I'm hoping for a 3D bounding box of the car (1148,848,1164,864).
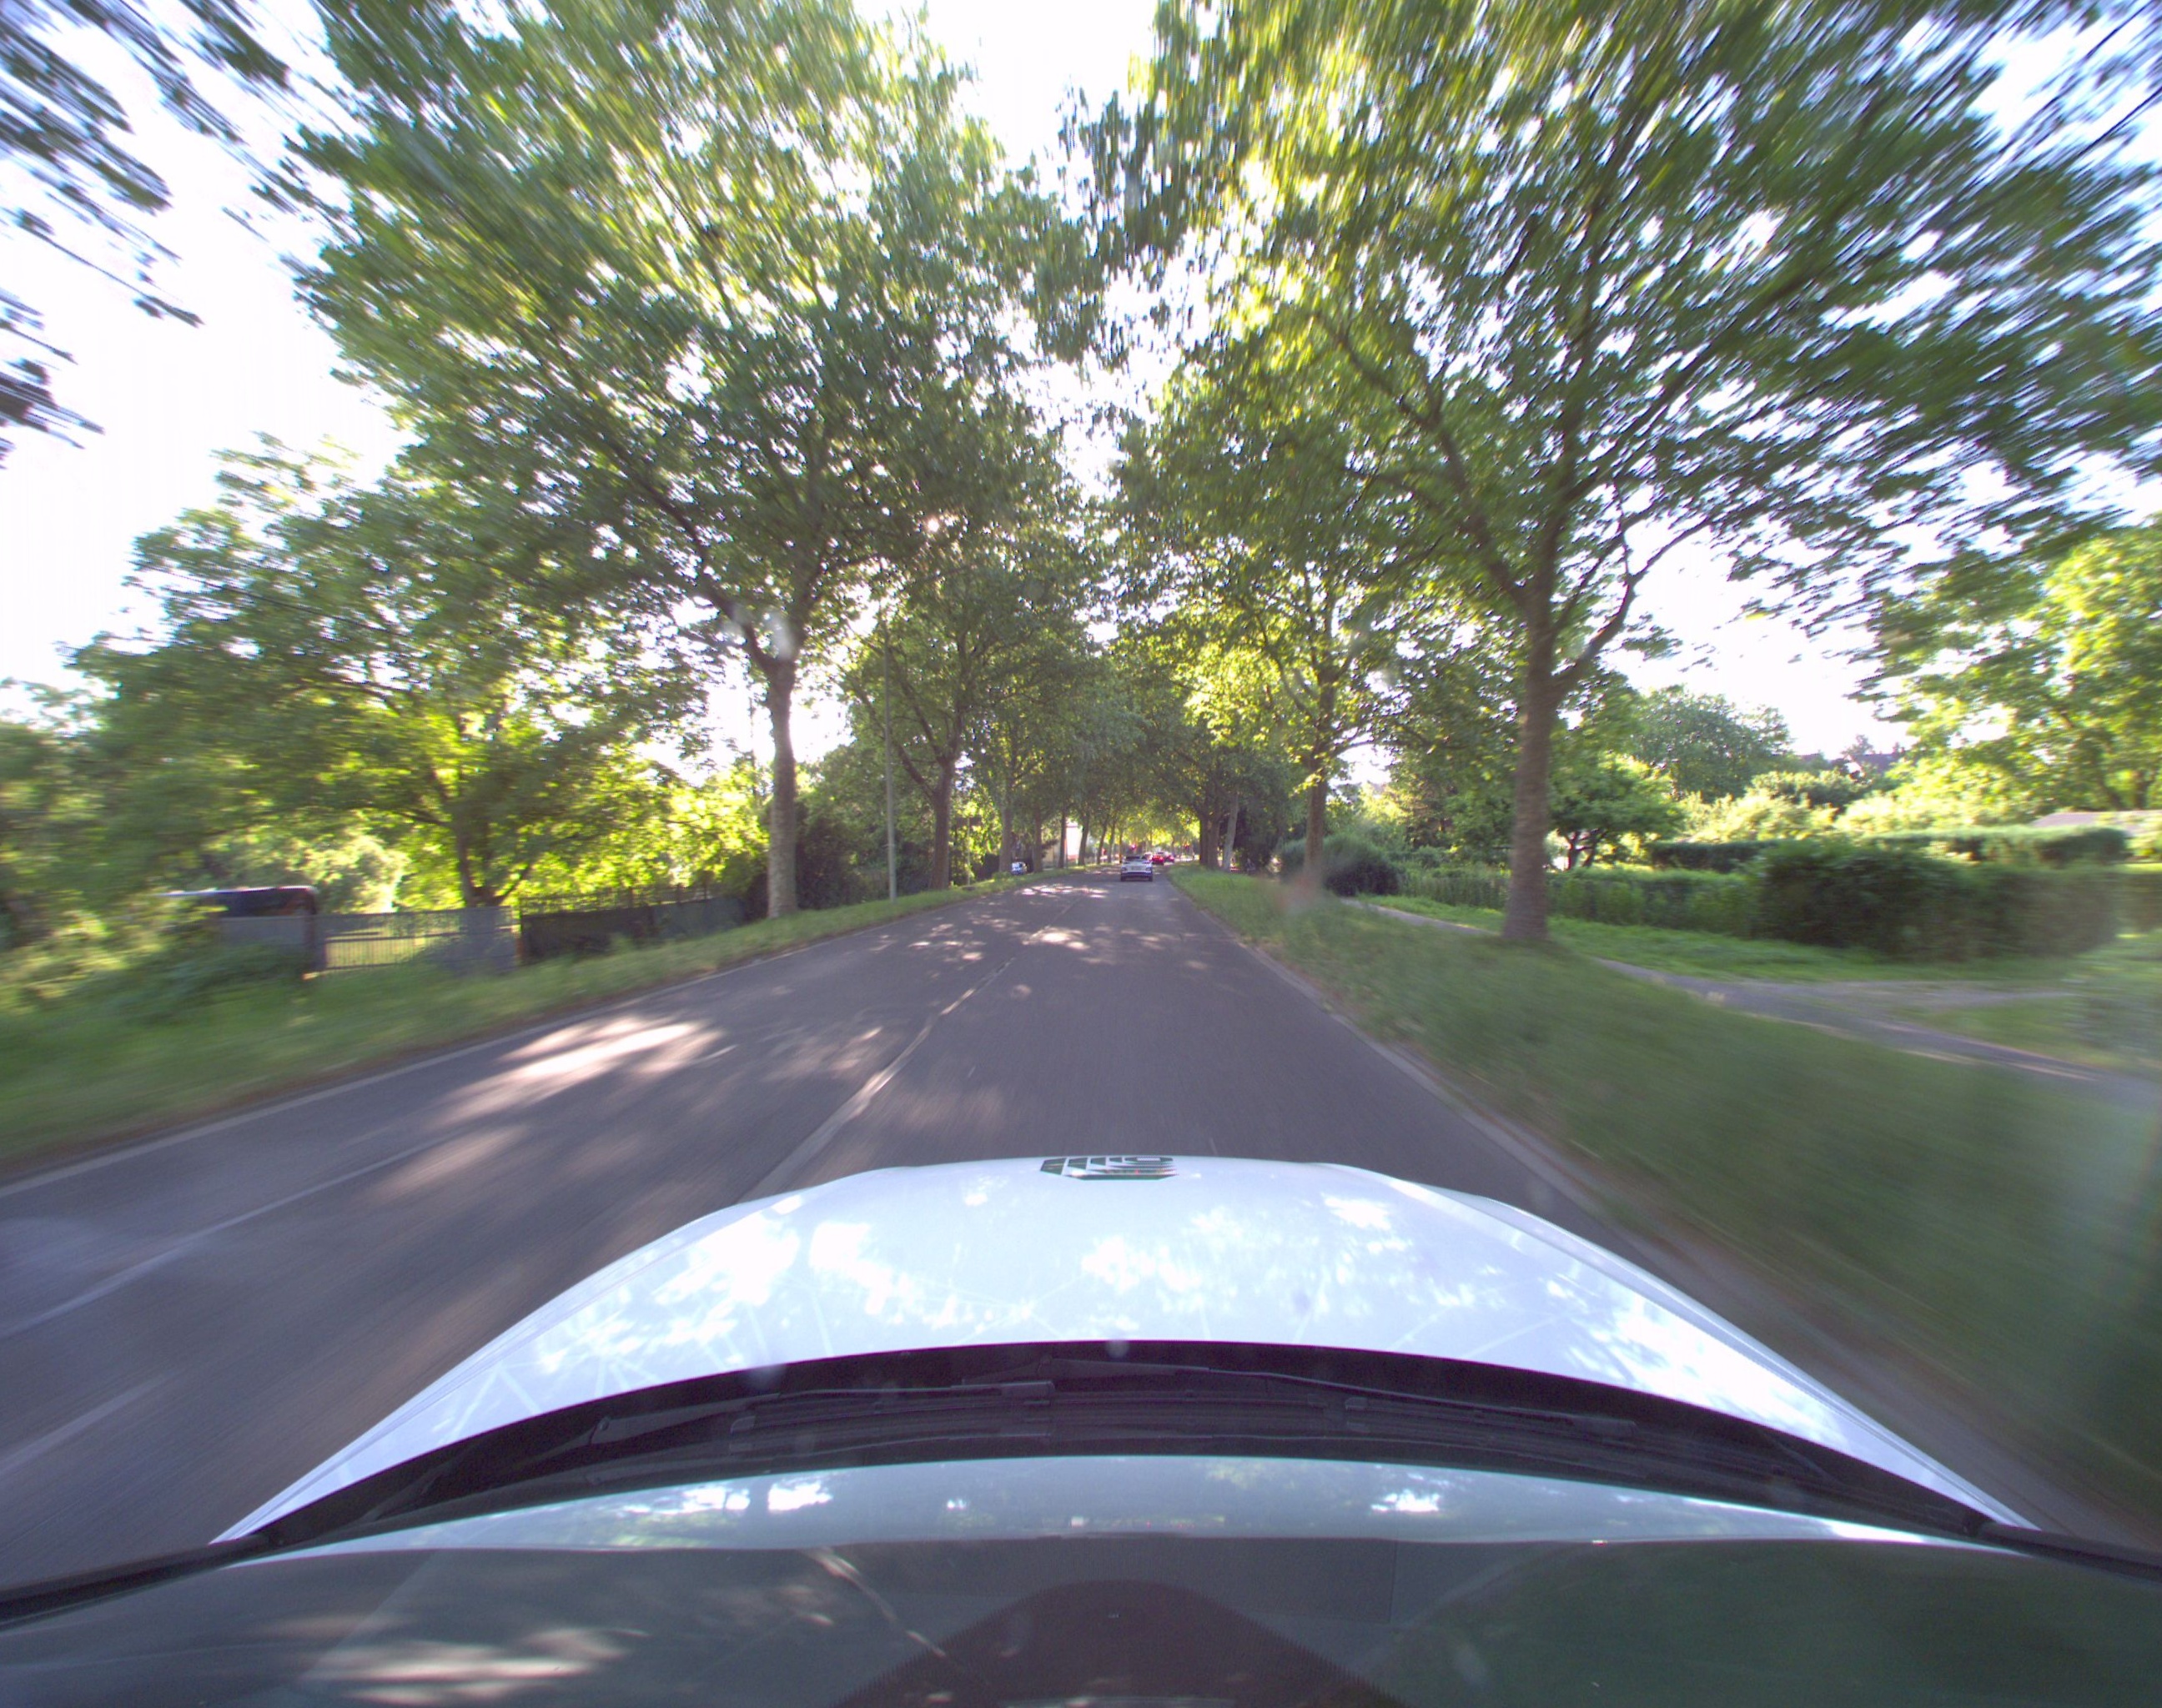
[{"bbox_3d":[9.759,0.279,105.251,1.984,2.014,4.006,0,-1,6],"label":"car"}]

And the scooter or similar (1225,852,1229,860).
[{"bbox_3d":[25.201,0.329,140.532,0.546,1.258,2.319,0,-1,10],"label":"scooter or similar"}]

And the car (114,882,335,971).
[{"bbox_3d":[-21.516,1.756,20.527,3.960,2.014,2.007,0,-1,12],"label":"car"}]

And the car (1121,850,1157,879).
[{"bbox_3d":[3.367,0.589,47.019,1.984,1.574,4.005,0,0,4],"label":"car"}]

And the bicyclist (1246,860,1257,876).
[{"bbox_3d":[13.861,1.137,66.254,0.732,1.366,0.770,0,-1,-2],"label":"bicyclist"}]

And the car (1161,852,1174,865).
[{"bbox_3d":[14.006,0.744,131.909,1.983,2.014,4.007,0,-1,6],"label":"car"}]

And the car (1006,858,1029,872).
[{"bbox_3d":[-6.436,1.100,82.360,1.744,1.304,4.004,-2,1,3],"label":"car"}]

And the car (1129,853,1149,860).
[{"bbox_3d":[11.920,0.486,168.145,3.963,1.478,2.005,0,-1,9],"label":"car"}]

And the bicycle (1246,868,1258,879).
[{"bbox_3d":[13.860,1.560,66.054,0.551,0.817,1.887,0,-1,-2],"label":"bicycle"}]
